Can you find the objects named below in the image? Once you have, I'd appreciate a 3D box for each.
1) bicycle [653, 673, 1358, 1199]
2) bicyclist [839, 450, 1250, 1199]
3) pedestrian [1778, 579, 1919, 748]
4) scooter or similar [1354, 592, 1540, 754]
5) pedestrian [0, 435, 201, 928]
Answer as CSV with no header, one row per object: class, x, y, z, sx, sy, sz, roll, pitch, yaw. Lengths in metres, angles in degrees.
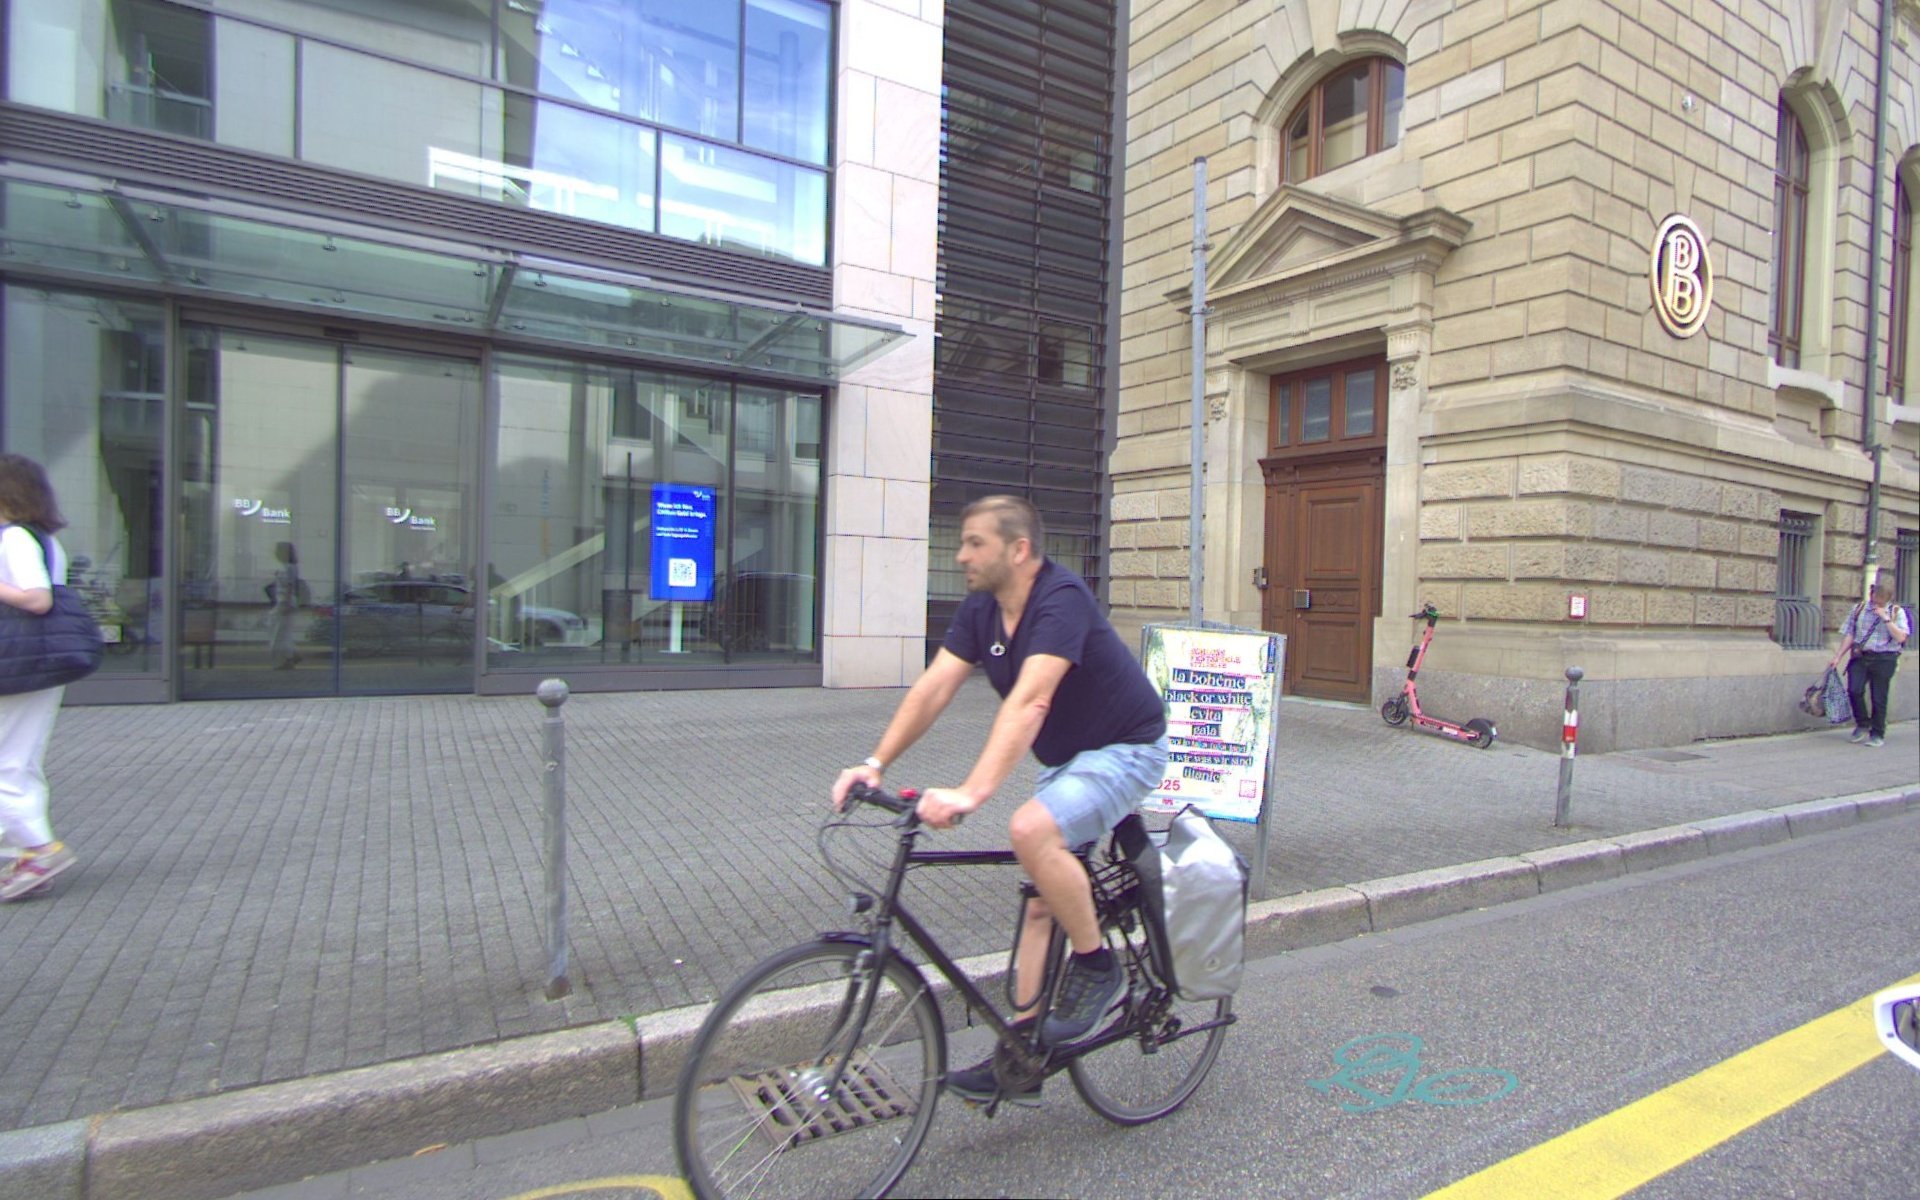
bicycle,0.226,0.848,2.757,1.933,1.257,0.643,2,-3,-34
bicyclist,0.235,0.523,2.763,0.930,1.675,0.639,2,-2,-34
pedestrian,9.927,0.668,11.136,0.809,1.743,1.021,2,2,-30
scooter or similar,4.559,0.633,9.506,0.580,1.328,1.439,0,4,-30
pedestrian,-3.574,0.262,3.875,0.900,1.731,0.872,2,4,-31
